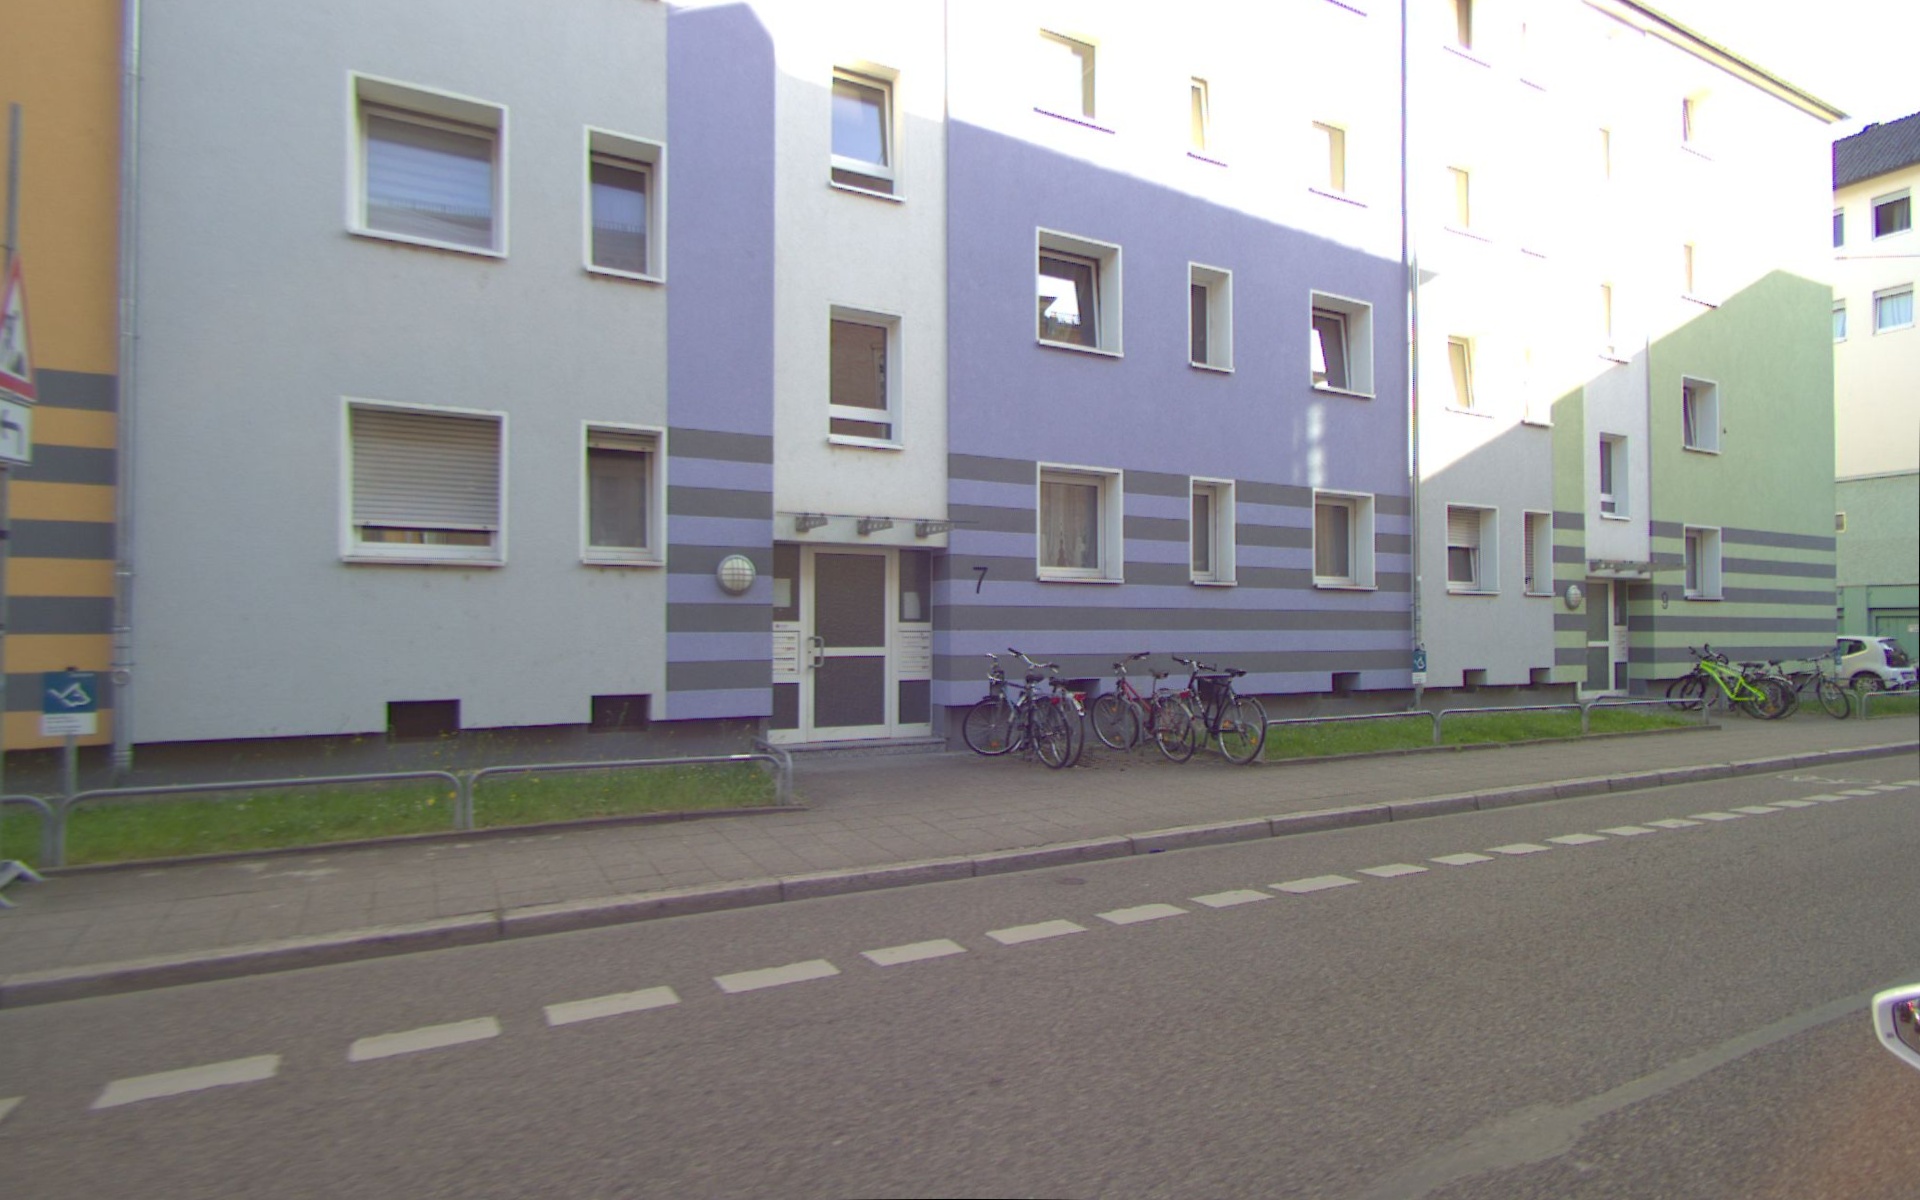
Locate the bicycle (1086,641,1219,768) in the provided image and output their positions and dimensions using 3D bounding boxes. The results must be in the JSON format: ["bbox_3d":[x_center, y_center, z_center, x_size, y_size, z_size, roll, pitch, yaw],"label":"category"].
[{"bbox_3d":[2.065,1.086,10.980,0.461,1.258,1.631,1,-2,-30],"label":"bicycle"}]

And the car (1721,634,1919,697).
[{"bbox_3d":[21.805,1.610,25.527,1.790,1.462,3.489,0,-2,-26],"label":"car"}]

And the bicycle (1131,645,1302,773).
[{"bbox_3d":[2.784,1.143,11.145,0.616,1.247,1.998,1,-2,-30],"label":"bicycle"}]

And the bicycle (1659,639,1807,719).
[{"bbox_3d":[13.238,1.318,17.251,0.609,1.195,1.910,1,1,-43],"label":"bicycle"}]

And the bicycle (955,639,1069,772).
[{"bbox_3d":[0.505,1.040,10.395,0.380,1.258,1.572,1,-2,-30],"label":"bicycle"}]

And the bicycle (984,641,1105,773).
[{"bbox_3d":[0.858,1.078,10.608,0.444,1.258,1.577,1,-2,-30],"label":"bicycle"}]

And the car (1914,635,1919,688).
[{"bbox_3d":[27.995,1.620,26.212,1.922,1.462,4.085,0,-2,-26],"label":"car"}]

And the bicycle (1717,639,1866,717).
[{"bbox_3d":[14.630,1.336,17.723,0.608,1.195,1.915,1,1,-37],"label":"bicycle"}]
